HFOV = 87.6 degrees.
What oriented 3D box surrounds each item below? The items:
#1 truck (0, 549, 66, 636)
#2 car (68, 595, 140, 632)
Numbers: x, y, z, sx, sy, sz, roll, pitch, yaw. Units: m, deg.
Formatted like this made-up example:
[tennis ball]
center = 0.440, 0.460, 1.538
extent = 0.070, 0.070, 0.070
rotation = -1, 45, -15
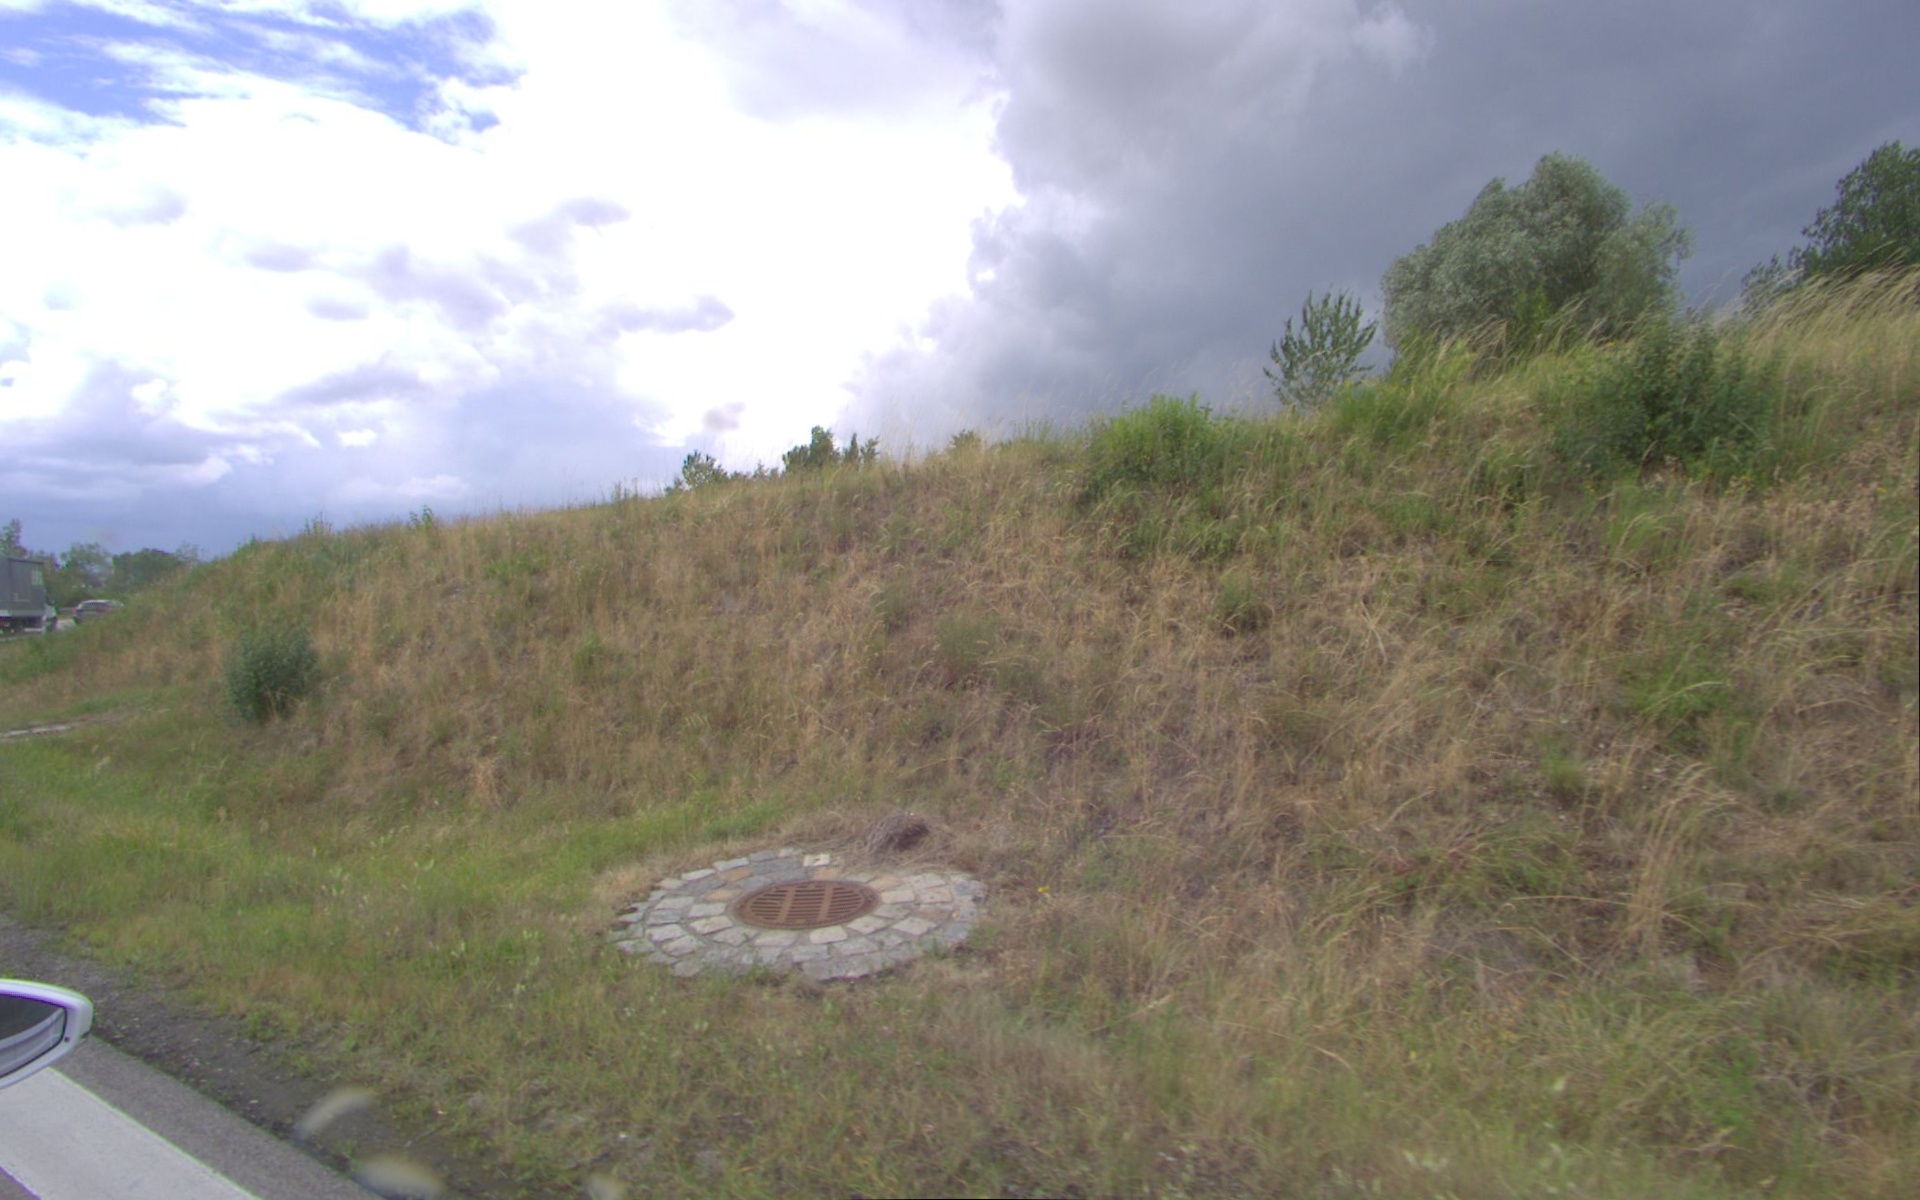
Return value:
[truck]
center = -45.264, -0.253, 47.841
extent = 2.202, 3.956, 5.993
rotation = 0, -2, -26
[car]
center = -49.872, 0.811, 58.425
extent = 1.967, 2.039, 3.990
rotation = 0, -2, -22
